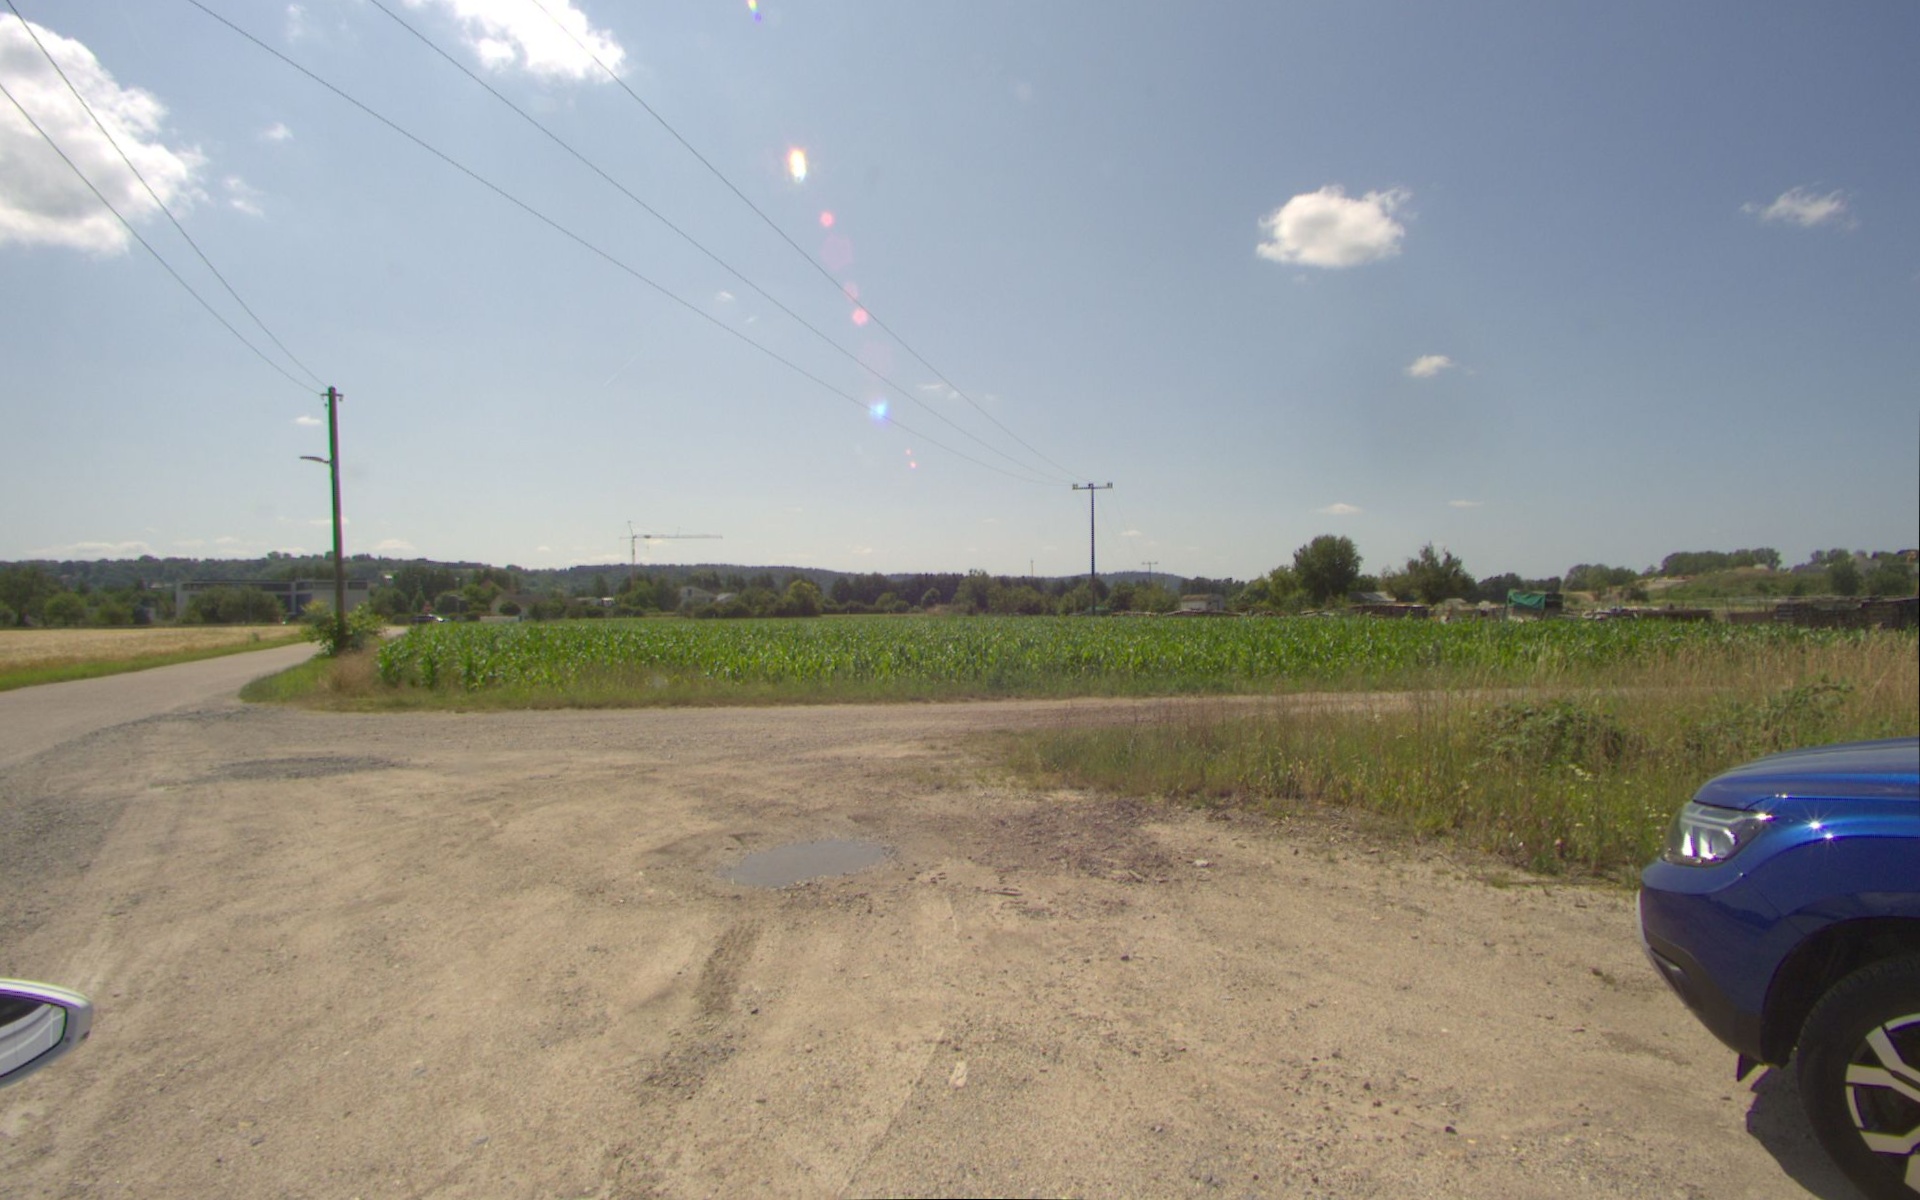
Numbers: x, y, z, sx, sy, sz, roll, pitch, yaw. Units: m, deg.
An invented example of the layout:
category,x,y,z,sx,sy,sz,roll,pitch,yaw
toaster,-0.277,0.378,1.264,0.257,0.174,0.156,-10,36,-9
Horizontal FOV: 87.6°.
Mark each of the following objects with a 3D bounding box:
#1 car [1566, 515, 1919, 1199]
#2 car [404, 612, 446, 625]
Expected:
category,x,y,z,sx,sy,sz,roll,pitch,yaw
car,3.888,0.614,1.815,1.843,1.682,4.423,1,-2,-39
car,-65.659,2.285,122.941,4.214,1.522,1.814,-1,0,-14
